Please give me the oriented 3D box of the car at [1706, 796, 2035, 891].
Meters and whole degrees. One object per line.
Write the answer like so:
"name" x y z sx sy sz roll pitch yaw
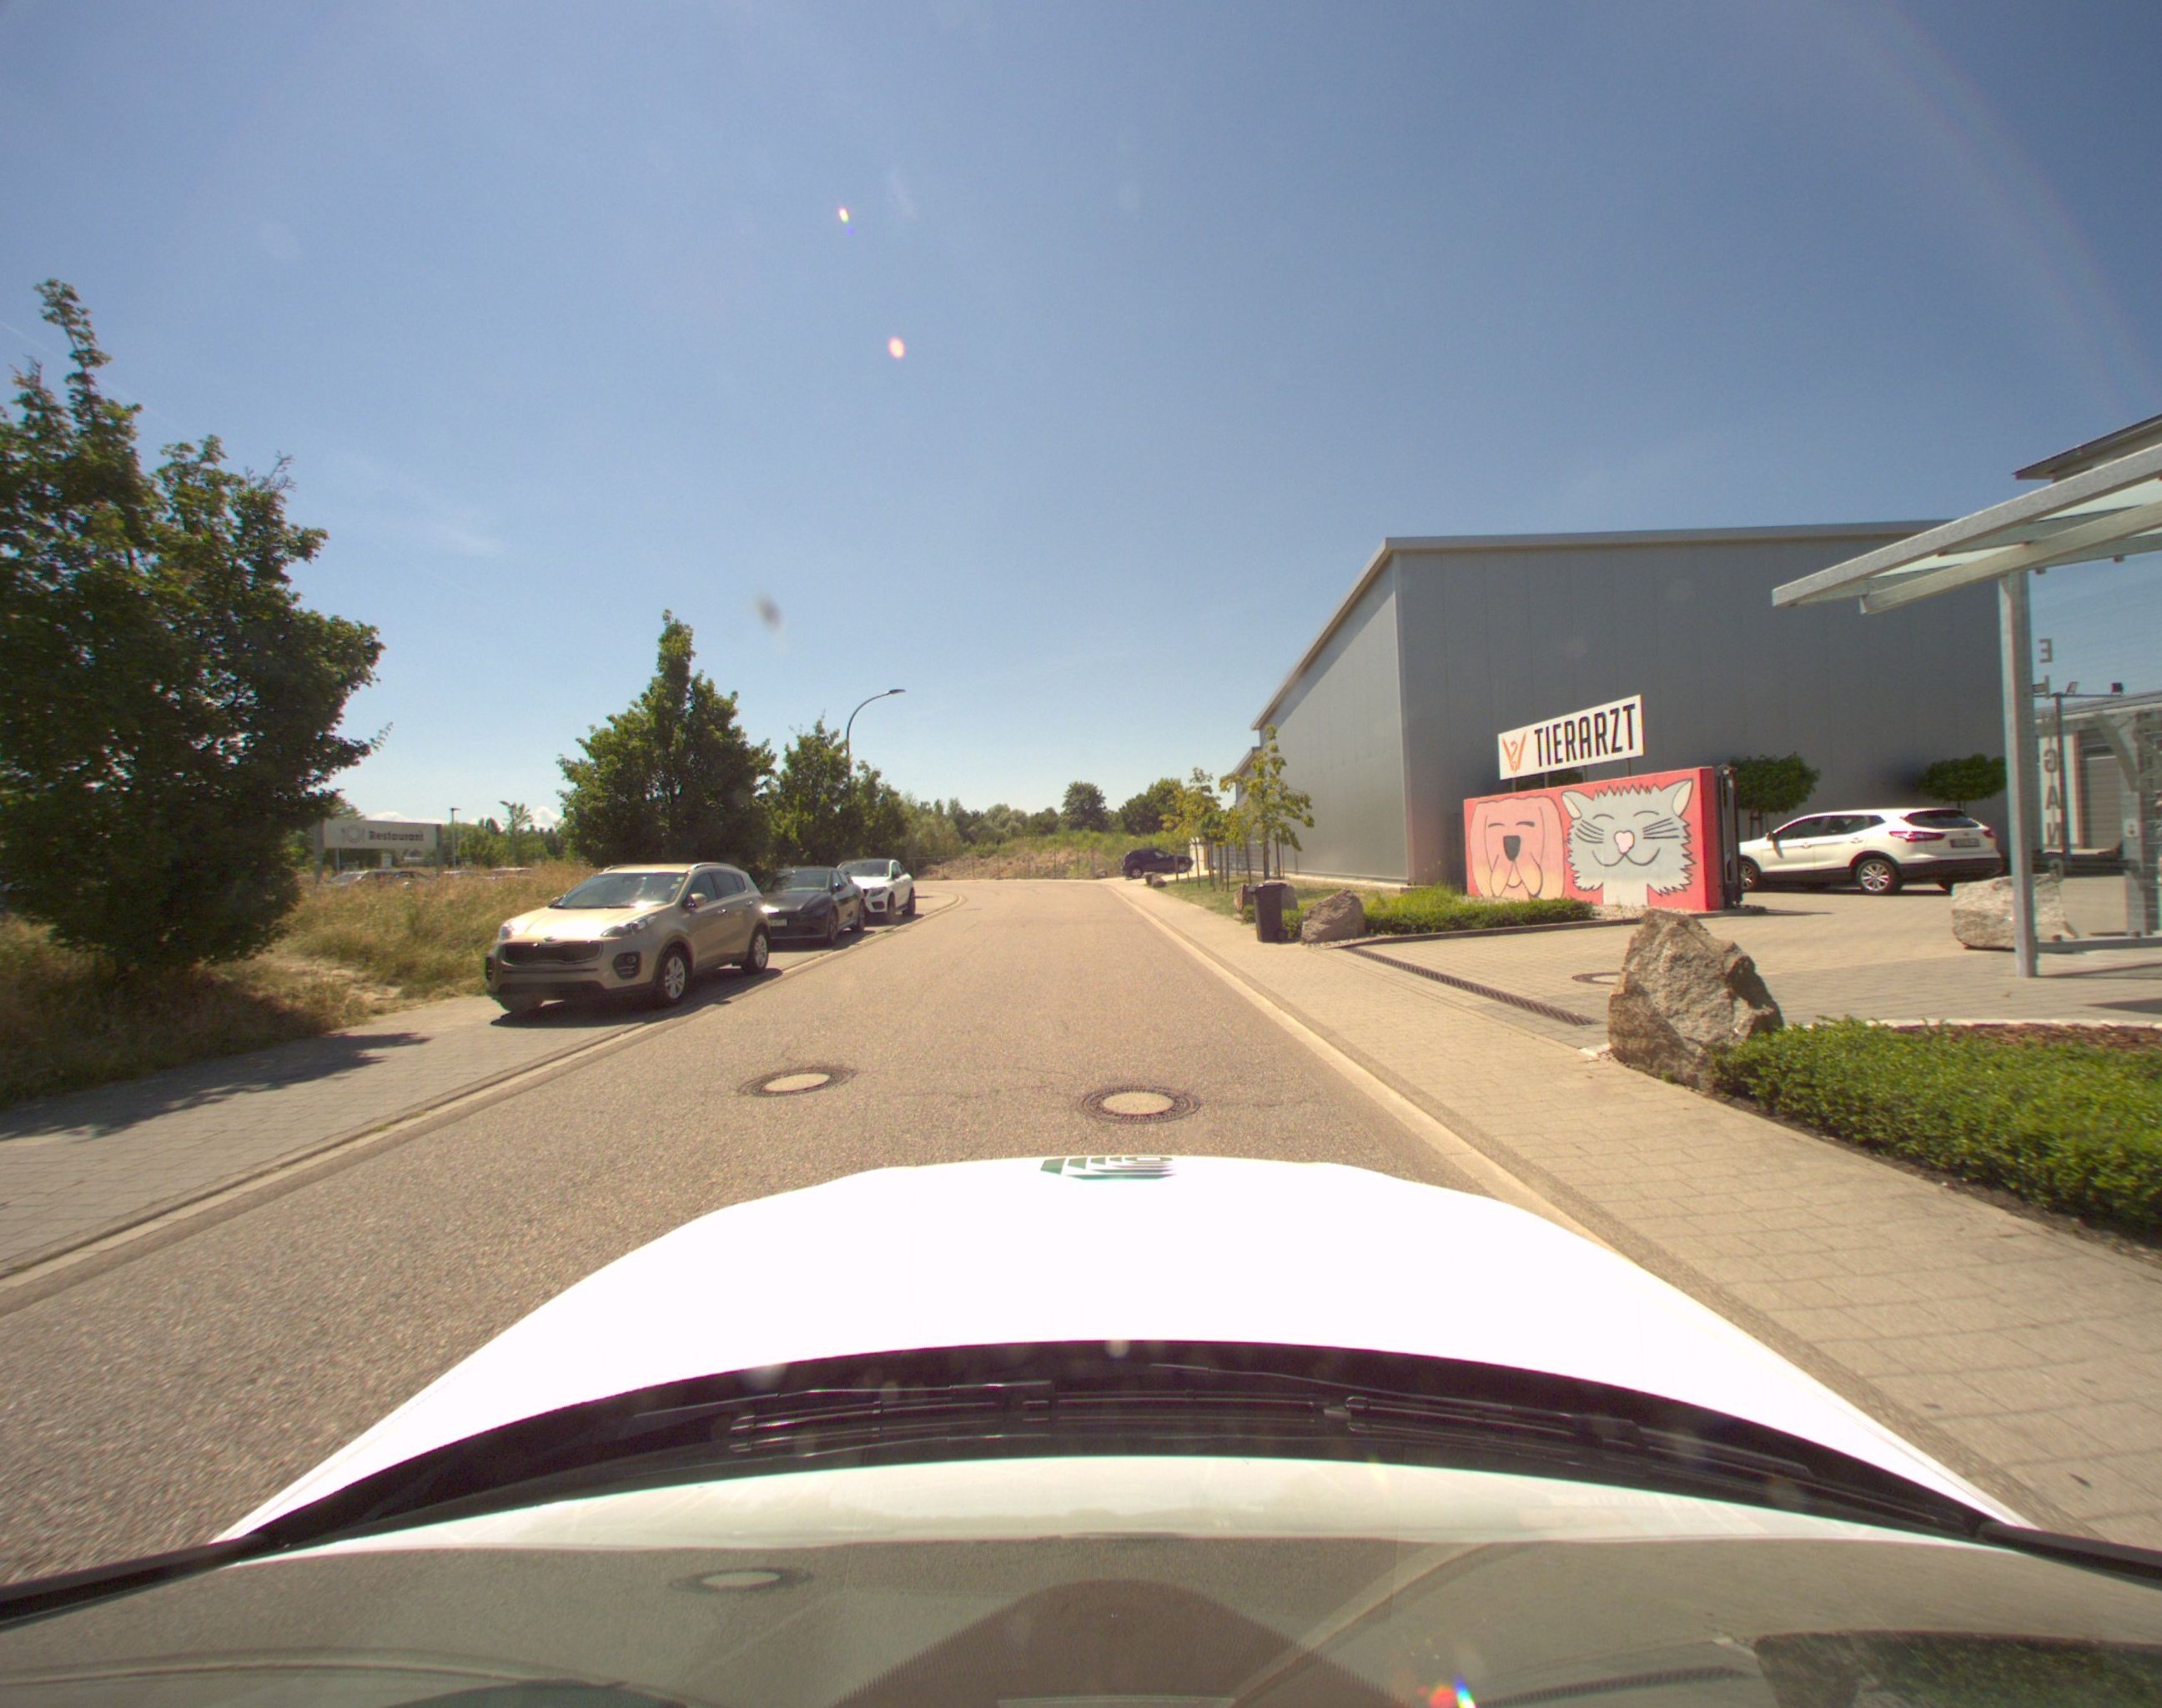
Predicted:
"car" 15.044 -0.146 15.951 1.991 1.542 4.343 -2 -1 -5

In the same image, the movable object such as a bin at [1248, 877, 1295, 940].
"movable object such as a bin" 3.076 0.871 13.190 0.557 0.946 0.539 -3 0 -3

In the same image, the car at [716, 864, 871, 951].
"car" -5.851 1.013 17.189 1.909 1.491 4.407 -1 0 -4

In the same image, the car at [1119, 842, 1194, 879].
"car" 4.390 0.376 47.779 4.000 1.655 1.857 -7 0 -2

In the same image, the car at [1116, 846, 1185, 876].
"car" 4.275 0.424 50.506 4.000 1.462 1.891 -5 0 -2

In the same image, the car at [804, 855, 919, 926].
"car" -5.957 0.912 22.760 1.907 1.655 4.752 -4 0 -1

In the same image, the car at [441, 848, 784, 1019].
"car" -5.598 0.801 10.546 1.907 1.713 4.411 -1 0 -1

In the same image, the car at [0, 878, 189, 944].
"car" -28.527 1.562 23.151 1.989 1.544 3.996 -2 0 -3

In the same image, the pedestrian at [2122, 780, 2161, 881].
"pedestrian" 18.829 -0.414 14.121 0.700 1.726 0.769 -2 0 -21
